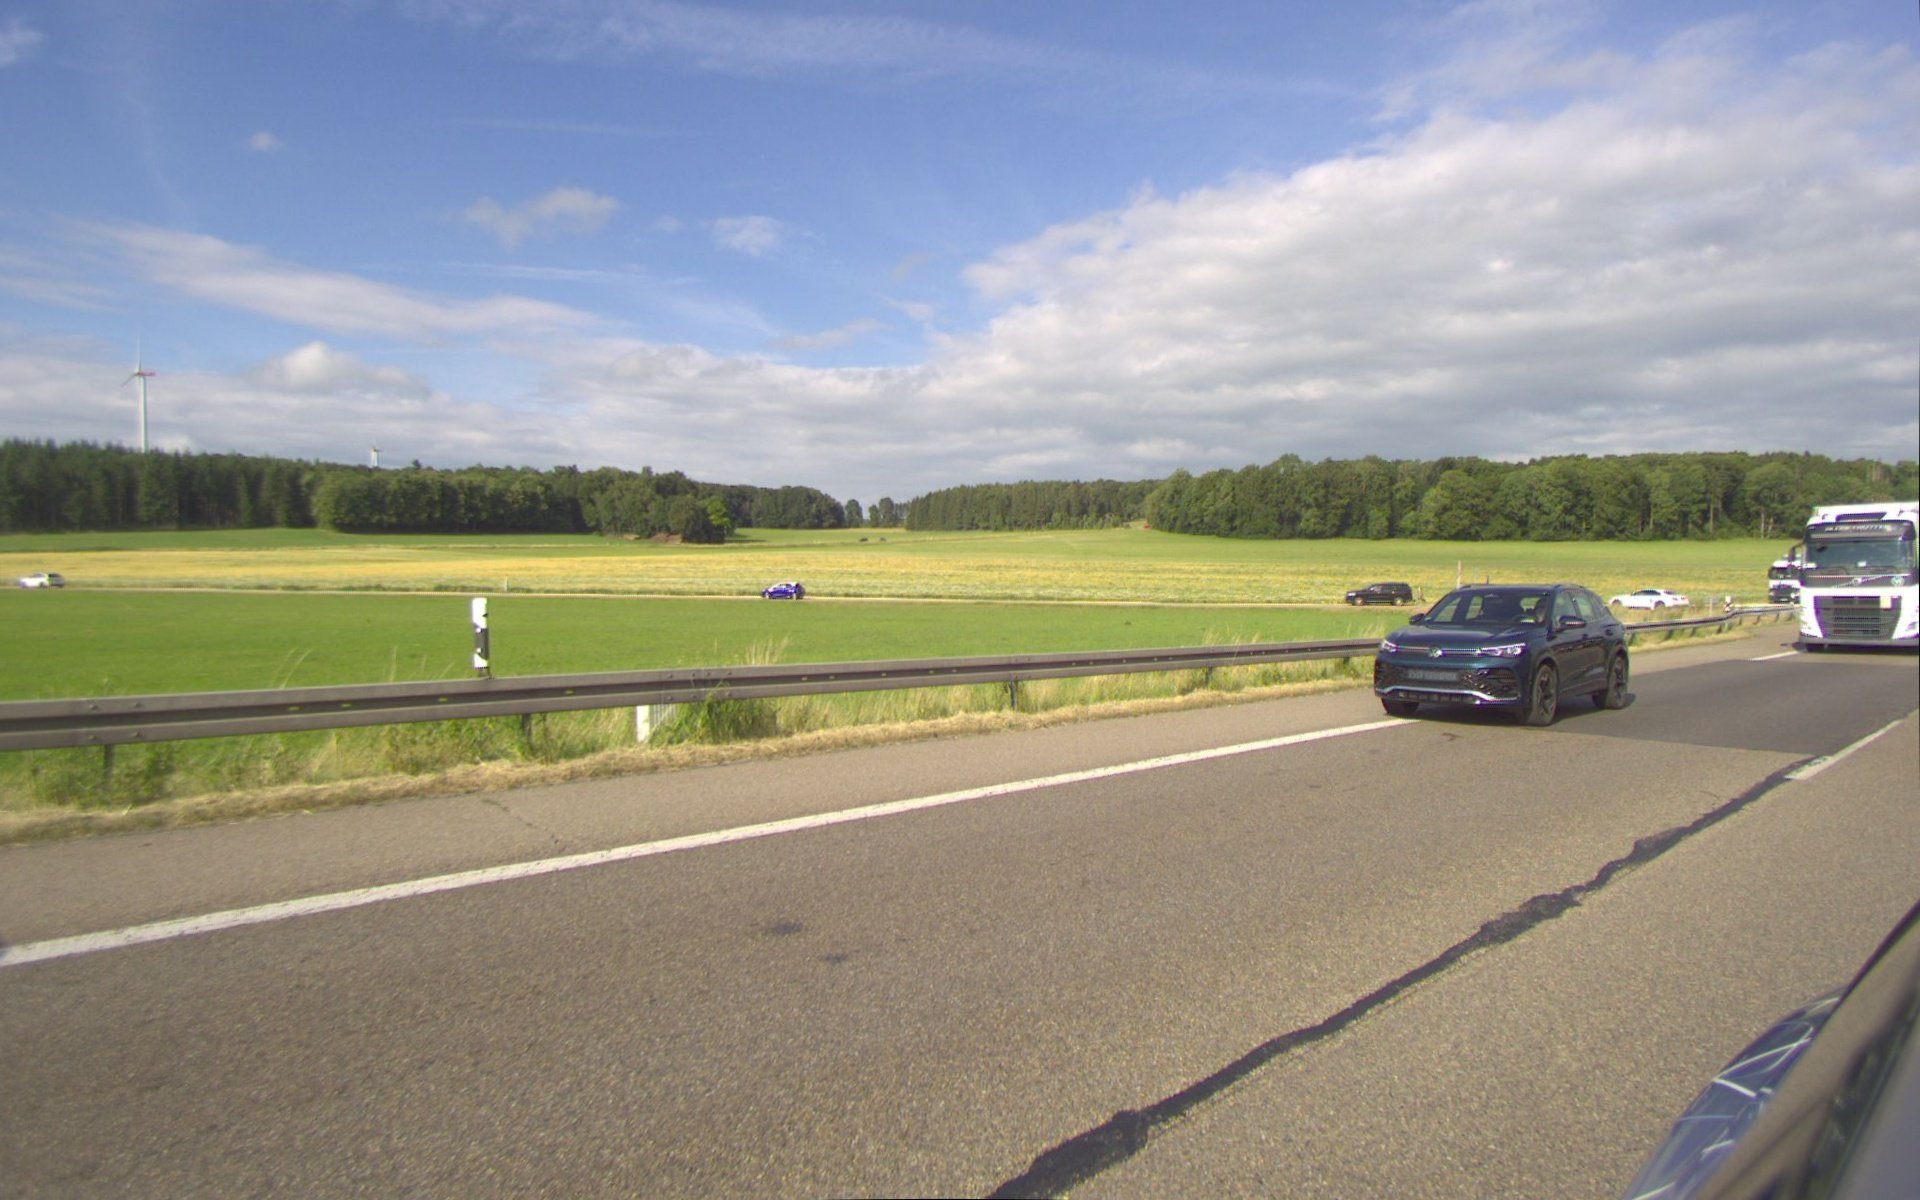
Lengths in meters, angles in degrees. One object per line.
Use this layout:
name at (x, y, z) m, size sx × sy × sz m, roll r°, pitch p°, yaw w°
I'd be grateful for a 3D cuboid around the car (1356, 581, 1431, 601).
car at (34.040, -0.695, 79.534) m, size 5.038 × 1.576 × 1.994 m, roll 0°, pitch 0°, yaw 10°

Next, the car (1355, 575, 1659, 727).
car at (6.987, 0.509, 12.791) m, size 4.045 × 1.616 × 1.998 m, roll -1°, pitch 1°, yaw -39°

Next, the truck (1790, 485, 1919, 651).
truck at (25.142, -0.824, 27.434) m, size 6.384 × 4.040 × 2.841 m, roll -1°, pitch 0°, yaw -39°

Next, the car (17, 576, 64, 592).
car at (-97.680, -1.704, 107.565) m, size 3.945 × 1.638 × 1.990 m, roll 0°, pitch 0°, yaw 17°

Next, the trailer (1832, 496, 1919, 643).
trailer at (30.764, -0.916, 31.950) m, size 11.910 × 4.032 × 2.825 m, roll -1°, pitch 0°, yaw -39°

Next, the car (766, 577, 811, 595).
car at (-15.006, -1.253, 88.672) m, size 3.506 × 1.549 × 1.719 m, roll 0°, pitch 0°, yaw 12°

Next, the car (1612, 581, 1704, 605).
car at (49.263, -0.504, 71.562) m, size 1.959 × 1.565 × 5.089 m, roll -1°, pitch 1°, yaw -25°
